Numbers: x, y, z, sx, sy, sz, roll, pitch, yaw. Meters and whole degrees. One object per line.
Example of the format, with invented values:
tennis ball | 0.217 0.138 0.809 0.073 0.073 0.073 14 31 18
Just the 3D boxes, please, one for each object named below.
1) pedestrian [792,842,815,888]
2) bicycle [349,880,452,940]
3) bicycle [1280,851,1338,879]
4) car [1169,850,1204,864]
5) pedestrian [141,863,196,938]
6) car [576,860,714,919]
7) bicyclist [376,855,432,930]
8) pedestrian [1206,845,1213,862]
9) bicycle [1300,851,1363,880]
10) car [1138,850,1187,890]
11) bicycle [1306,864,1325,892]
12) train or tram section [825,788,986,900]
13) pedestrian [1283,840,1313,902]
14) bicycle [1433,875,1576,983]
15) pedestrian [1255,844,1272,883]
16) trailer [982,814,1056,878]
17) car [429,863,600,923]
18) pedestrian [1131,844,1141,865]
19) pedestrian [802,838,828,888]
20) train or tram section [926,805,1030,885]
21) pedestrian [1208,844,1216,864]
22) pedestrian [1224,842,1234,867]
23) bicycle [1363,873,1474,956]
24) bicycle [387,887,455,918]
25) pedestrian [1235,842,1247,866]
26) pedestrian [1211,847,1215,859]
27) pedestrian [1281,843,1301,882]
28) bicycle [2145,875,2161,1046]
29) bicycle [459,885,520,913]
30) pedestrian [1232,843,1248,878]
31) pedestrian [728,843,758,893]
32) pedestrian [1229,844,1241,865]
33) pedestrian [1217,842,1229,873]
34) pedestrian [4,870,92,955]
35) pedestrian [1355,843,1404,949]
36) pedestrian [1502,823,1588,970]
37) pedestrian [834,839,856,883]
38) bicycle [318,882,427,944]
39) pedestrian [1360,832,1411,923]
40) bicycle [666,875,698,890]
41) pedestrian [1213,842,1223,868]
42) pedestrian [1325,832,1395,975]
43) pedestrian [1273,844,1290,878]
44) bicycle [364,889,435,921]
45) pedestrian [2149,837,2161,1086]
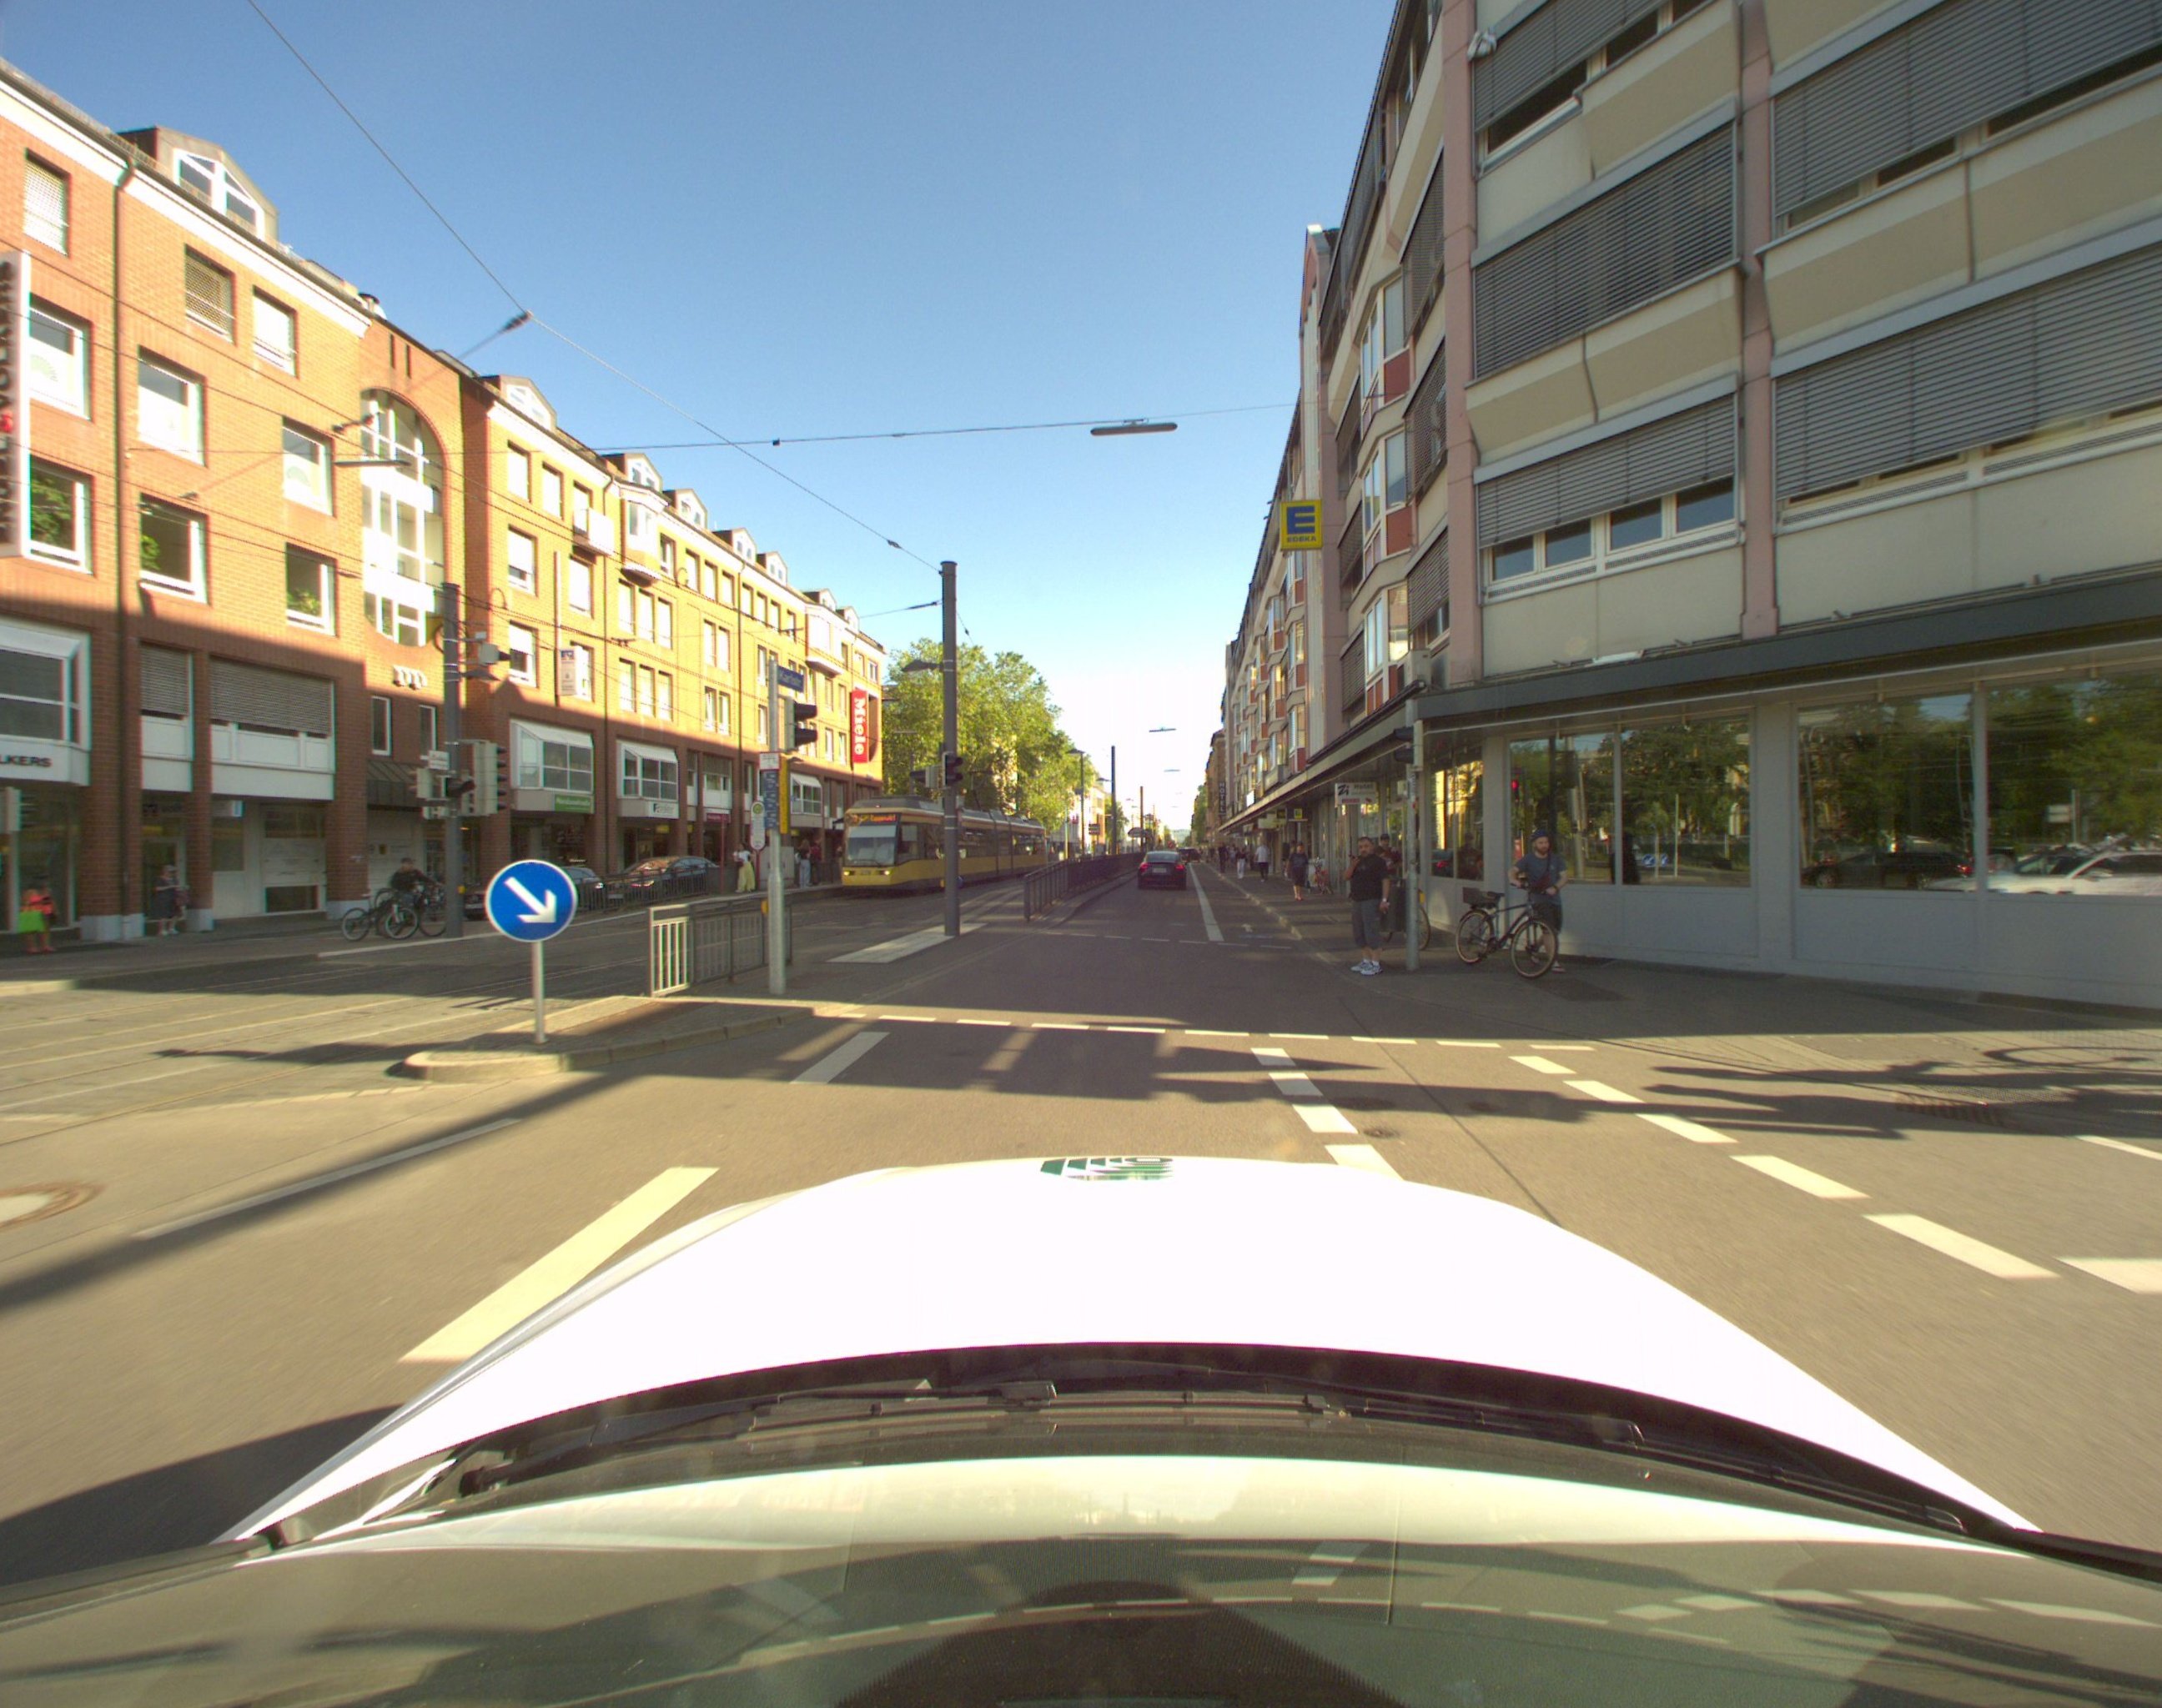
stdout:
pedestrian | -9.294 0.366 27.334 0.582 1.531 0.636 0 0 -5
bicycle | -13.584 1.114 16.268 1.670 1.158 0.492 0 0 3
bicycle | 10.136 0.476 36.273 2.417 1.217 0.830 0 0 4
car | 12.447 0.316 96.051 3.698 1.664 1.736 0 0 -11
pedestrian | -20.760 1.050 18.535 0.618 1.671 0.552 0 0 3
car | -12.933 0.994 24.466 1.808 1.544 3.797 -2 0 5
bicyclist | -13.529 0.755 16.272 0.714 1.470 0.484 0 0 3
pedestrian | 13.831 -0.072 87.880 0.693 1.896 0.751 0 0 7
bicycle | 10.561 0.468 34.363 2.417 1.217 0.797 0 0 4
car | 3.189 0.595 32.073 1.782 1.450 3.946 1 0 5
bicycle | 7.551 0.769 26.247 0.412 0.856 1.240 0 0 9
train or tram section | -6.180 -0.341 30.888 2.714 3.542 10.108 0 0 7
pedestrian | 6.008 0.471 22.568 0.693 1.677 0.751 0 0 7
bicycle | 5.218 0.871 10.191 0.488 1.161 1.966 0 0 -10
pedestrian | 7.998 0.423 35.733 0.693 1.677 0.751 0 0 7
trailer | -3.656 -0.467 50.646 2.699 3.546 9.377 0 0 7
car | -15.998 1.048 23.279 1.808 1.454 3.983 -2 0 5
pedestrian | 4.683 0.012 69.226 0.753 1.769 0.700 0 0 6
pedestrian | -9.188 0.300 28.152 0.578 1.721 0.641 0 0 21
train or tram section | -4.873 -0.410 40.948 2.699 3.546 10.189 0 0 7
pedestrian | 12.346 0.024 76.601 0.693 1.896 0.751 0 0 7
pedestrian | 11.184 0.054 61.397 0.693 1.896 0.751 0 0 7
bicycle | 5.103 0.864 12.469 0.488 1.102 2.117 0 0 -11
bicycle | -19.885 1.470 24.562 1.702 0.900 0.522 0 0 5
pedestrian | 12.186 0.003 61.932 0.837 1.756 0.789 0 0 7
pedestrian | 21.235 -0.191 131.064 0.692 1.878 0.751 0 0 8
pedestrian | 8.965 0.358 34.834 0.743 1.677 0.700 0 0 8
bicycle | 8.550 0.806 5.327 0.543 1.284 1.901 0 0 -10
bicycle | -19.645 1.505 27.074 1.702 0.900 0.522 0 0 5
pedestrian | 7.681 0.331 39.365 0.693 1.677 0.751 0 0 7
pedestrian | -10.561 0.428 25.438 0.630 1.564 0.588 0 0 20
pedestrian | 11.948 0.026 63.273 0.837 1.607 0.789 0 0 7
pedestrian | 8.763 0.242 50.268 0.693 1.896 0.751 0 0 7
pedestrian | -20.421 1.137 16.108 0.708 1.594 0.778 2 0 7
pedestrian | 4.551 0.622 12.434 0.472 1.562 0.542 0 0 -15
pedestrian | 5.857 0.502 10.317 0.906 1.754 0.844 0 0 29
pedestrian | -9.233 0.276 31.863 0.632 1.721 0.586 0 0 6
bicycle | -13.605 1.122 15.651 1.703 1.158 0.492 0 0 2
pedestrian | 5.815 0.441 15.568 0.686 1.688 0.670 0 0 -7
bicycle | -23.838 1.697 48.664 1.702 0.900 0.522 0 0 5
pedestrian | 10.058 0.085 59.945 0.693 1.896 0.751 0 0 7
pedestrian | 3.618 0.621 10.616 0.624 1.782 0.918 0 0 3
pedestrian | 9.754 0.339 39.658 0.734 1.652 0.719 0 0 5
bicycle | -19.942 1.475 23.844 1.702 0.900 0.522 0 0 5
pedestrian | 7.263 0.694 4.804 0.778 1.576 0.866 0 1 -6
